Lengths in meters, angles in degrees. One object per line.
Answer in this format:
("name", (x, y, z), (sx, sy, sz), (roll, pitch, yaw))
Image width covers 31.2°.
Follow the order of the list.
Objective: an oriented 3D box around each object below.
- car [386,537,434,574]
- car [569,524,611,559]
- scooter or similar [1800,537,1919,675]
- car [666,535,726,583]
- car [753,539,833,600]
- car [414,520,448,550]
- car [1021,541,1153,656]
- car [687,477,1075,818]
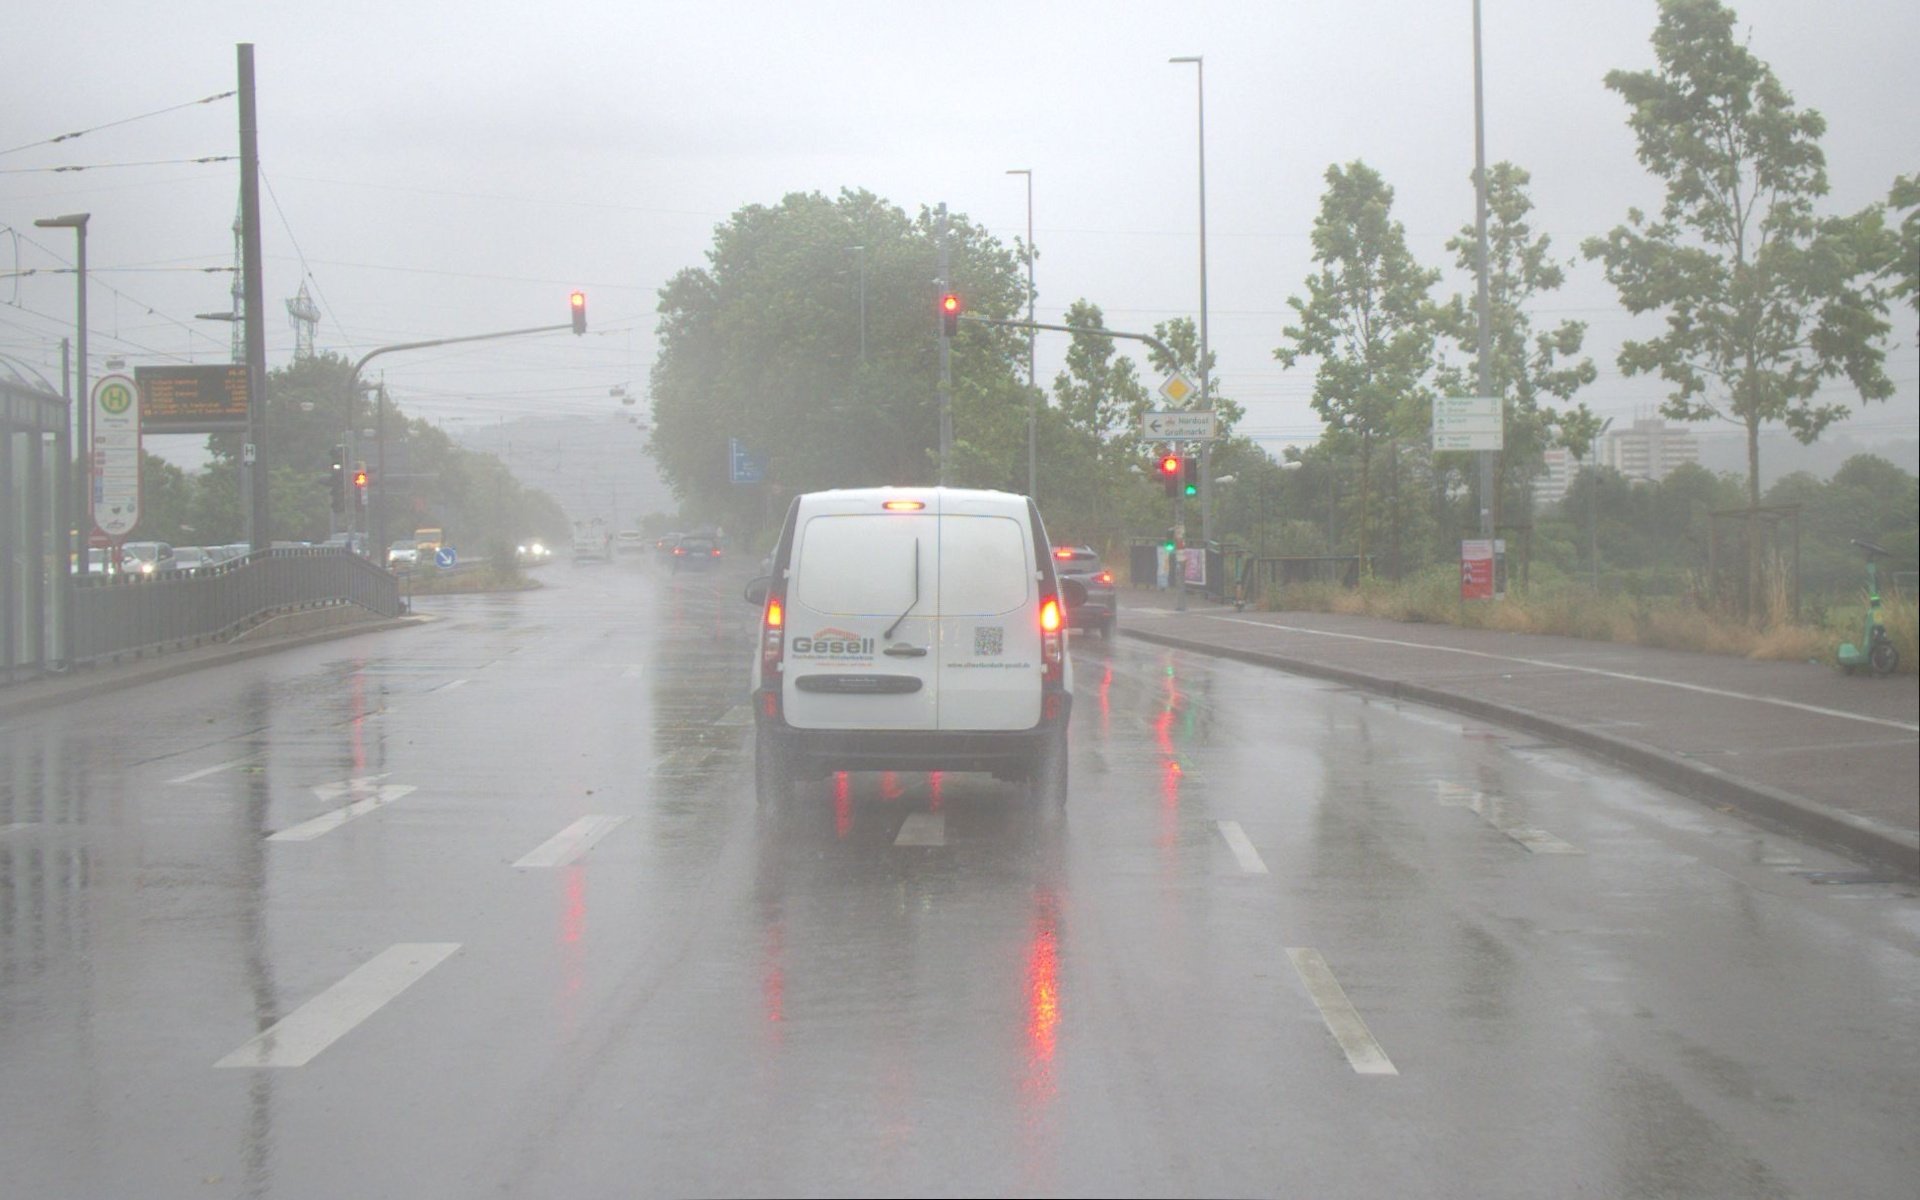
("car", (-30.956, -2.500, 193.603), (1.993, 2.007, 4.000), (1, 1, 1))
("car", (-19.046, -3.006, 176.735), (1.993, 1.744, 4.001), (1, 1, -8))
("scooter or similar", (8.060, 0.042, 30.683), (0.642, 1.191, 1.563), (-1, 1, -4))
("car", (-9.919, -1.547, 128.862), (1.993, 1.744, 4.001), (1, 1, -8))
("car", (-4.987, -0.917, 102.383), (1.993, 1.744, 4.001), (1, 1, -8))
("car", (-36.734, -4.494, 238.820), (1.993, 2.007, 4.001), (1, 1, -4))
("car", (2.006, -0.053, 55.459), (1.993, 1.744, 4.000), (1, 1, 1))
("car", (-0.453, 0.221, 20.324), (2.025, 1.769, 4.274), (1, 1, -1))
